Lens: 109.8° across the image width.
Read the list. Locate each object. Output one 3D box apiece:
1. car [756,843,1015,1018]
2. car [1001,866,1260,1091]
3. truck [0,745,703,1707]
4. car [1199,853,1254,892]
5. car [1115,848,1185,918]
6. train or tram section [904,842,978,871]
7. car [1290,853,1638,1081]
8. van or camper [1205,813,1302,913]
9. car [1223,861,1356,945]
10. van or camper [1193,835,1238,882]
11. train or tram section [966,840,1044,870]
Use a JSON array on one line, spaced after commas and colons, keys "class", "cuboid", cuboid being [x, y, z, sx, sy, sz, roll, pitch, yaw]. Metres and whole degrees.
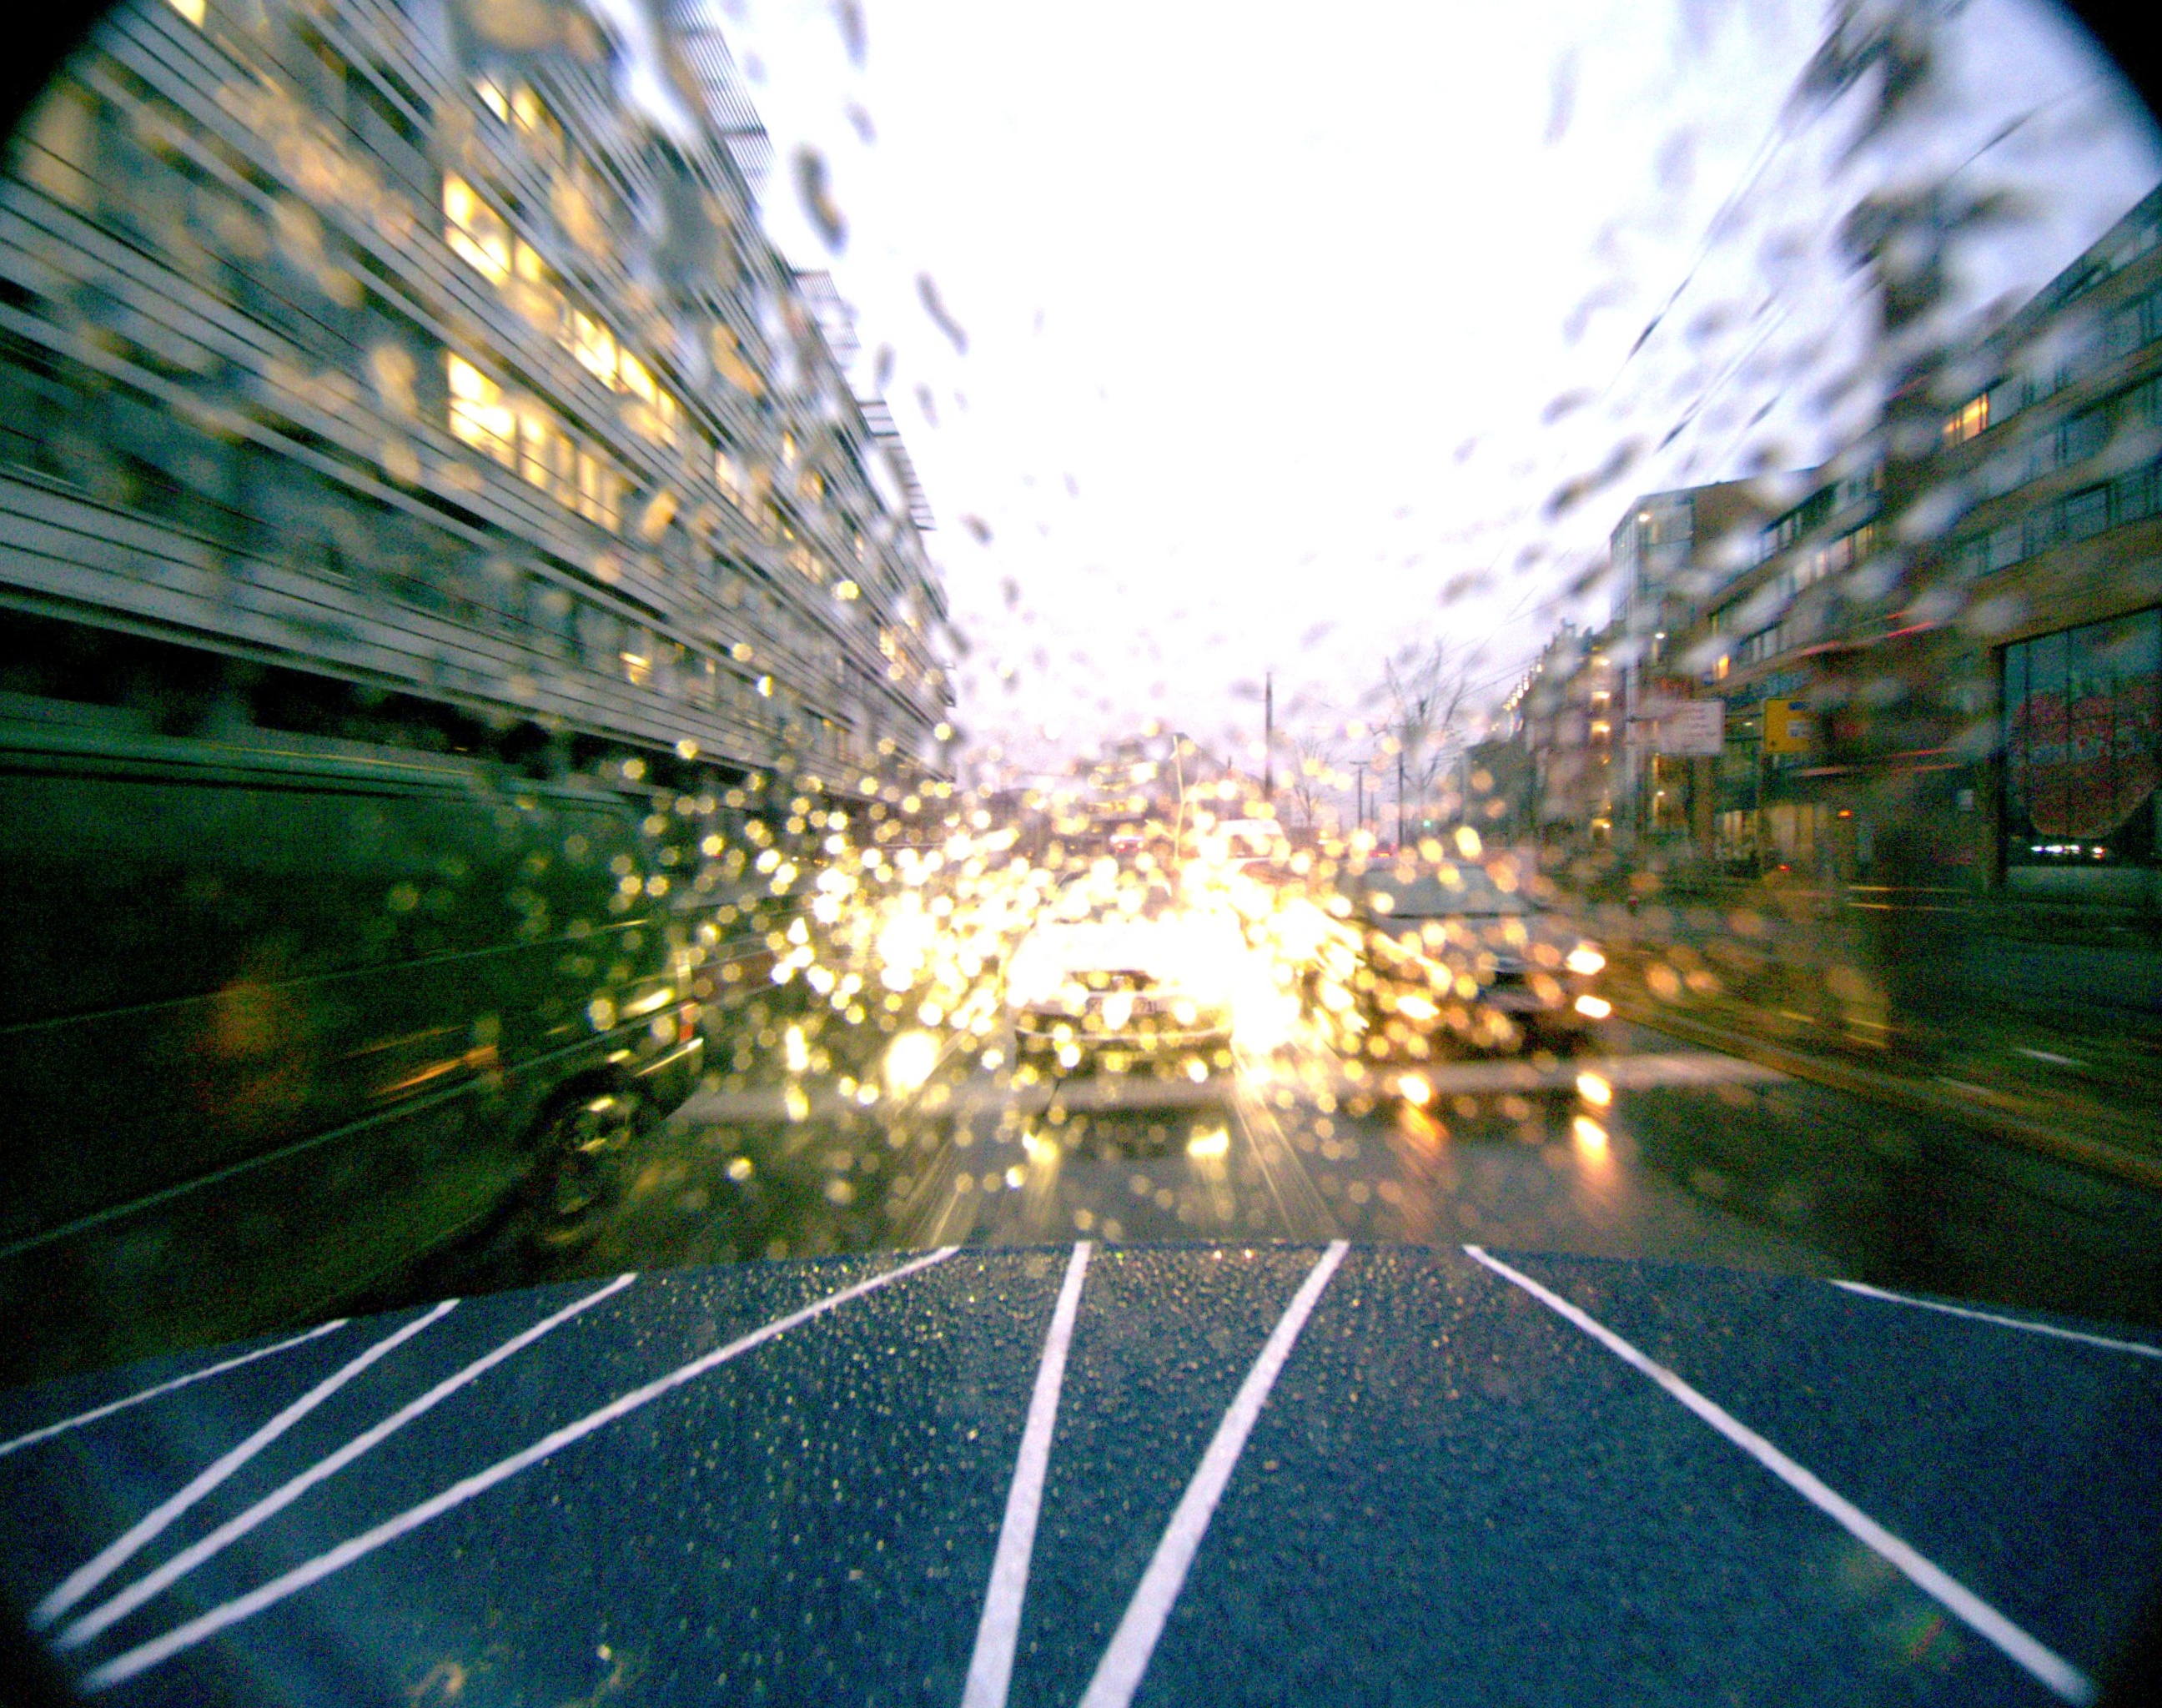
[{"class": "car", "cuboid": [-2.297, 0.815, 10.425, 1.908, 1.809, 4.690, -2, 0, 5]}, {"class": "car", "cuboid": [0.425, 0.920, 7.470, 1.773, 1.449, 4.222, -2, 0, 2]}, {"class": "truck", "cuboid": [-3.017, 0.778, 1.429, 1.908, 1.906, 4.618, -2, 0, 5]}, {"class": "car", "cuboid": [5.878, 0.707, 31.078, 1.824, 1.391, 3.954, -2, 0, 5]}, {"class": "car", "cuboid": [1.899, 0.727, 20.950, 1.684, 1.723, 3.715, -2, 0, 5]}, {"class": "train or tram section", "cuboid": [-25.981, 0.563, 140.965, 13.355, 4.904, 3.744, -2, 1, 23]}, {"class": "car", "cuboid": [3.174, 0.784, 7.183, 1.684, 1.563, 3.762, 0, 0, 5]}, {"class": "van or camper", "cuboid": [4.961, 0.203, 22.658, 2.060, 2.533, 5.887, -2, 1, 6]}, {"class": "car", "cuboid": [3.988, 0.869, 15.219, 1.824, 1.324, 4.226, -2, 0, 5]}, {"class": "van or camper", "cuboid": [7.287, 0.201, 41.460, 2.184, 2.339, 5.653, -2, 0, 9]}, {"class": "train or tram section", "cuboid": [-13.683, 0.195, 136.324, 13.357, 4.832, 3.744, -2, 1, 19]}]
